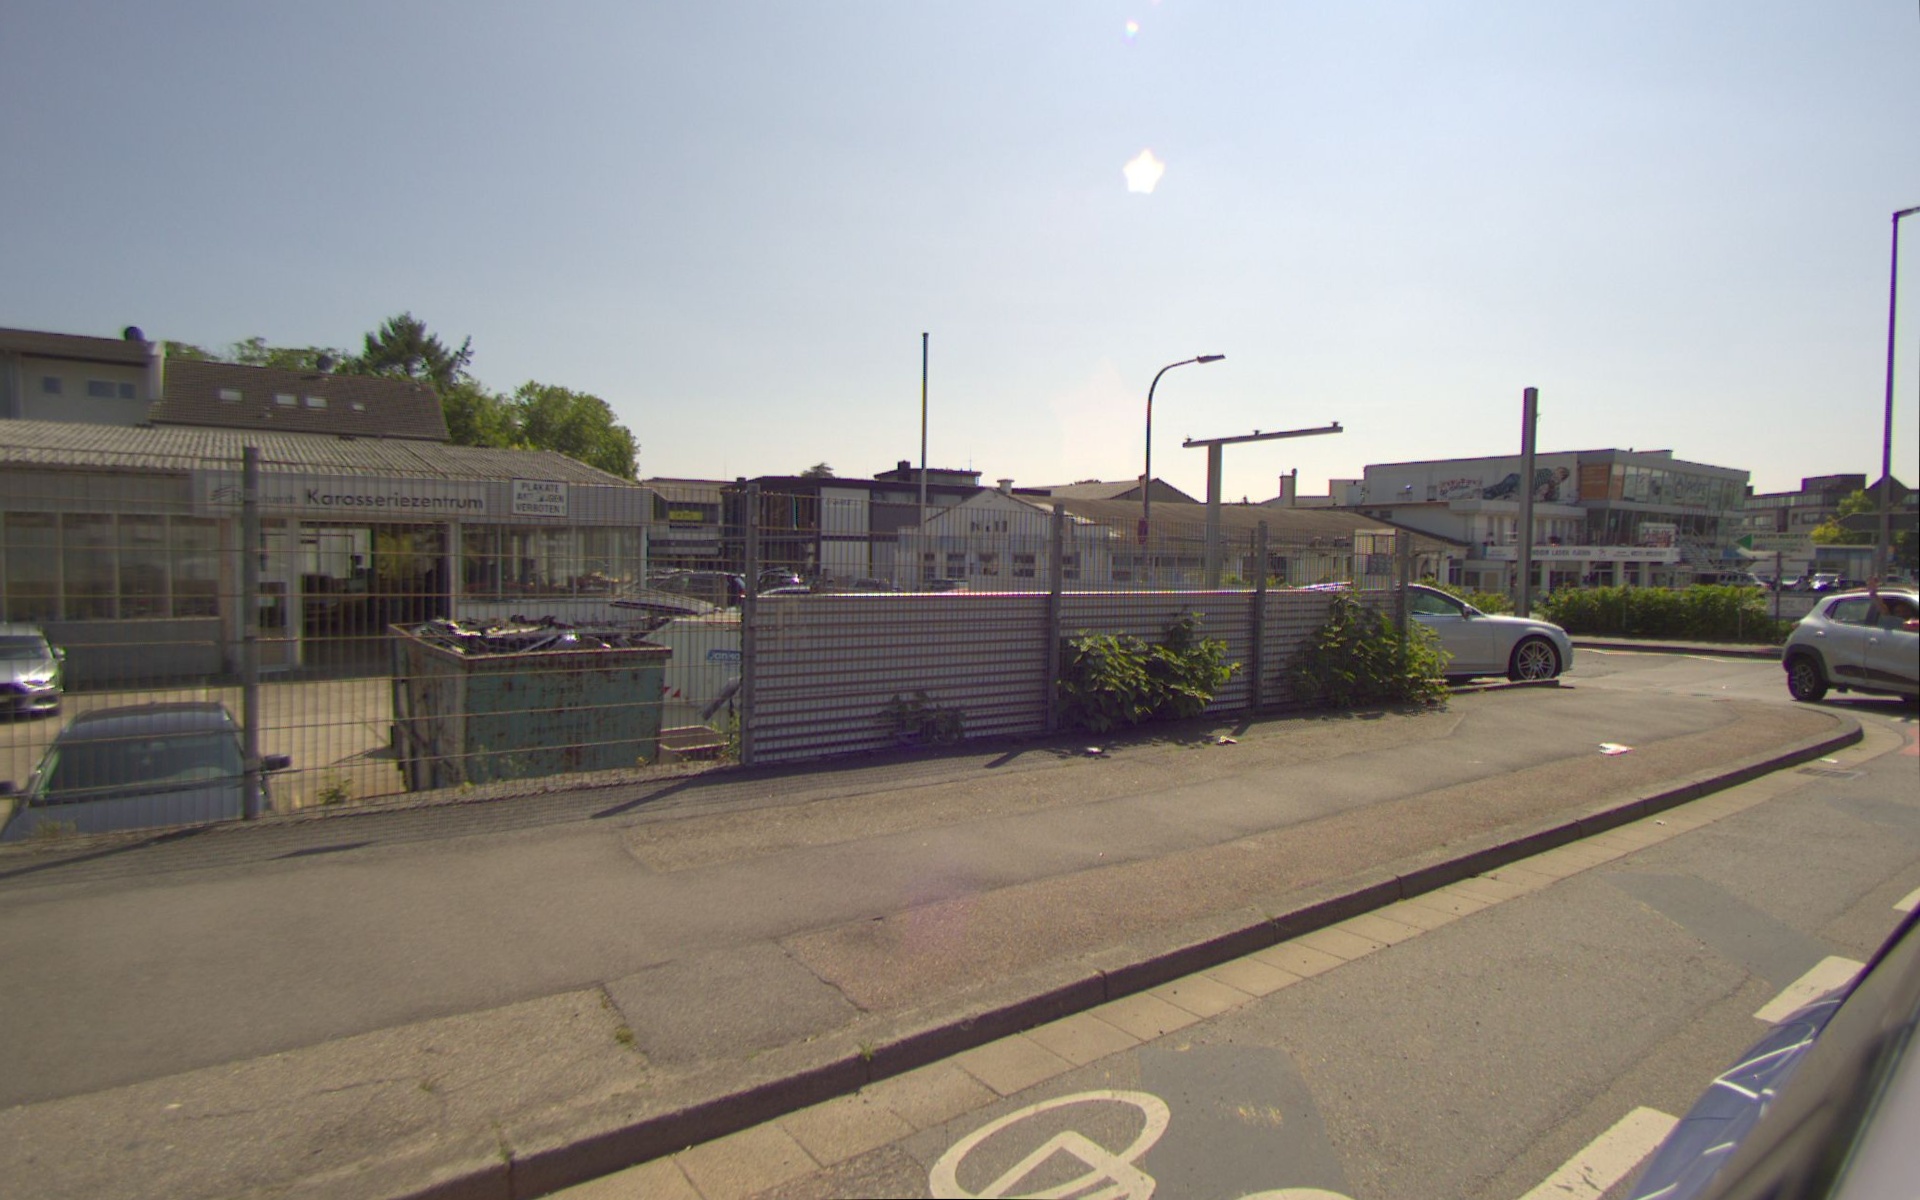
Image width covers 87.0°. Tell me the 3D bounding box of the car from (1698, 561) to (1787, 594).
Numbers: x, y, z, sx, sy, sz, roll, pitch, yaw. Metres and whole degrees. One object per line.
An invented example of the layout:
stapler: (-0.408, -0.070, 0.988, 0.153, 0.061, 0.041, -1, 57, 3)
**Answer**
car: (63.475, -1.835, 82.147, 2.285, 2.448, 5.308, 0, 3, -40)

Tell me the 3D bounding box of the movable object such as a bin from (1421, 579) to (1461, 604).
movable object such as a bin: (28.875, -0.520, 60.733, 1.793, 1.474, 1.573, 0, 2, -41)

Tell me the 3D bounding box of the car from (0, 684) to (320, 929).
car: (-7.132, 1.578, 8.972, 1.965, 1.319, 3.994, 0, 0, -40)

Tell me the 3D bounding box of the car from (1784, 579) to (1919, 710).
car: (11.964, 0.523, 11.949, 1.698, 1.503, 3.671, 1, 1, 6)

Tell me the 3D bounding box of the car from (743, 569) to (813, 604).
car: (-9.732, -0.757, 54.049, 1.964, 1.794, 3.996, 0, 2, -39)

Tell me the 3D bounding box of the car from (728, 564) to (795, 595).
car: (-13.167, -1.354, 67.179, 3.921, 1.927, 1.765, 1, 2, -33)

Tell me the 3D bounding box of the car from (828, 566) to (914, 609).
car: (-4.046, -0.576, 45.709, 1.964, 1.816, 3.996, 0, 1, -39)

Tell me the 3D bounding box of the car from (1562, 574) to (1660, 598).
car: (38.627, -0.830, 60.125, 4.474, 1.306, 1.892, -1, 0, 5)

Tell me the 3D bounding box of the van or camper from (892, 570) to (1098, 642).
van or camper: (0.809, 0.138, 22.027, 4.151, 1.369, 1.998, 0, -3, -38)

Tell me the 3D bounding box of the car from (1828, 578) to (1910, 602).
car: (71.973, -0.807, 80.150, 1.964, 1.698, 4.548, 0, 3, -40)

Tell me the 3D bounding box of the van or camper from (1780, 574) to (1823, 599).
van or camper: (73.141, -1.159, 87.908, 5.027, 2.038, 2.121, 0, 3, -42)

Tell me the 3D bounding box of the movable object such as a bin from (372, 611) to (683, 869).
movable object such as a bin: (-4.842, 1.150, 10.788, 1.963, 2.039, 5.130, 0, 0, -36)

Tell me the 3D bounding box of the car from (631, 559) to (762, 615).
car: (-8.636, -0.414, 33.419, 3.919, 1.668, 2.003, 2, 0, -7)

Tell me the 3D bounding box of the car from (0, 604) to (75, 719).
car: (-17.636, 1.074, 18.487, 1.964, 1.681, 3.998, -3, 5, -38)

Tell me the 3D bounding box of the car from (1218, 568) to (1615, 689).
car: (5.981, 0.363, 13.586, 4.406, 1.376, 1.960, -2, -1, -6)

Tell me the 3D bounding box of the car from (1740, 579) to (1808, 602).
car: (68.379, -0.849, 85.061, 1.964, 1.754, 4.115, 0, 3, -40)

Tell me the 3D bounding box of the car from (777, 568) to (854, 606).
car: (-7.146, -0.649, 49.764, 1.964, 1.682, 3.997, 0, 2, -39)

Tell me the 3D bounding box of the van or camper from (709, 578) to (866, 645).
van or camper: (-4.745, 0.283, 28.022, 4.142, 1.560, 2.006, 0, 6, -9)

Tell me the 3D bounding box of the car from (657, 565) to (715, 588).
car: (-21.192, -1.794, 78.240, 3.923, 1.670, 1.764, 0, 2, -35)
